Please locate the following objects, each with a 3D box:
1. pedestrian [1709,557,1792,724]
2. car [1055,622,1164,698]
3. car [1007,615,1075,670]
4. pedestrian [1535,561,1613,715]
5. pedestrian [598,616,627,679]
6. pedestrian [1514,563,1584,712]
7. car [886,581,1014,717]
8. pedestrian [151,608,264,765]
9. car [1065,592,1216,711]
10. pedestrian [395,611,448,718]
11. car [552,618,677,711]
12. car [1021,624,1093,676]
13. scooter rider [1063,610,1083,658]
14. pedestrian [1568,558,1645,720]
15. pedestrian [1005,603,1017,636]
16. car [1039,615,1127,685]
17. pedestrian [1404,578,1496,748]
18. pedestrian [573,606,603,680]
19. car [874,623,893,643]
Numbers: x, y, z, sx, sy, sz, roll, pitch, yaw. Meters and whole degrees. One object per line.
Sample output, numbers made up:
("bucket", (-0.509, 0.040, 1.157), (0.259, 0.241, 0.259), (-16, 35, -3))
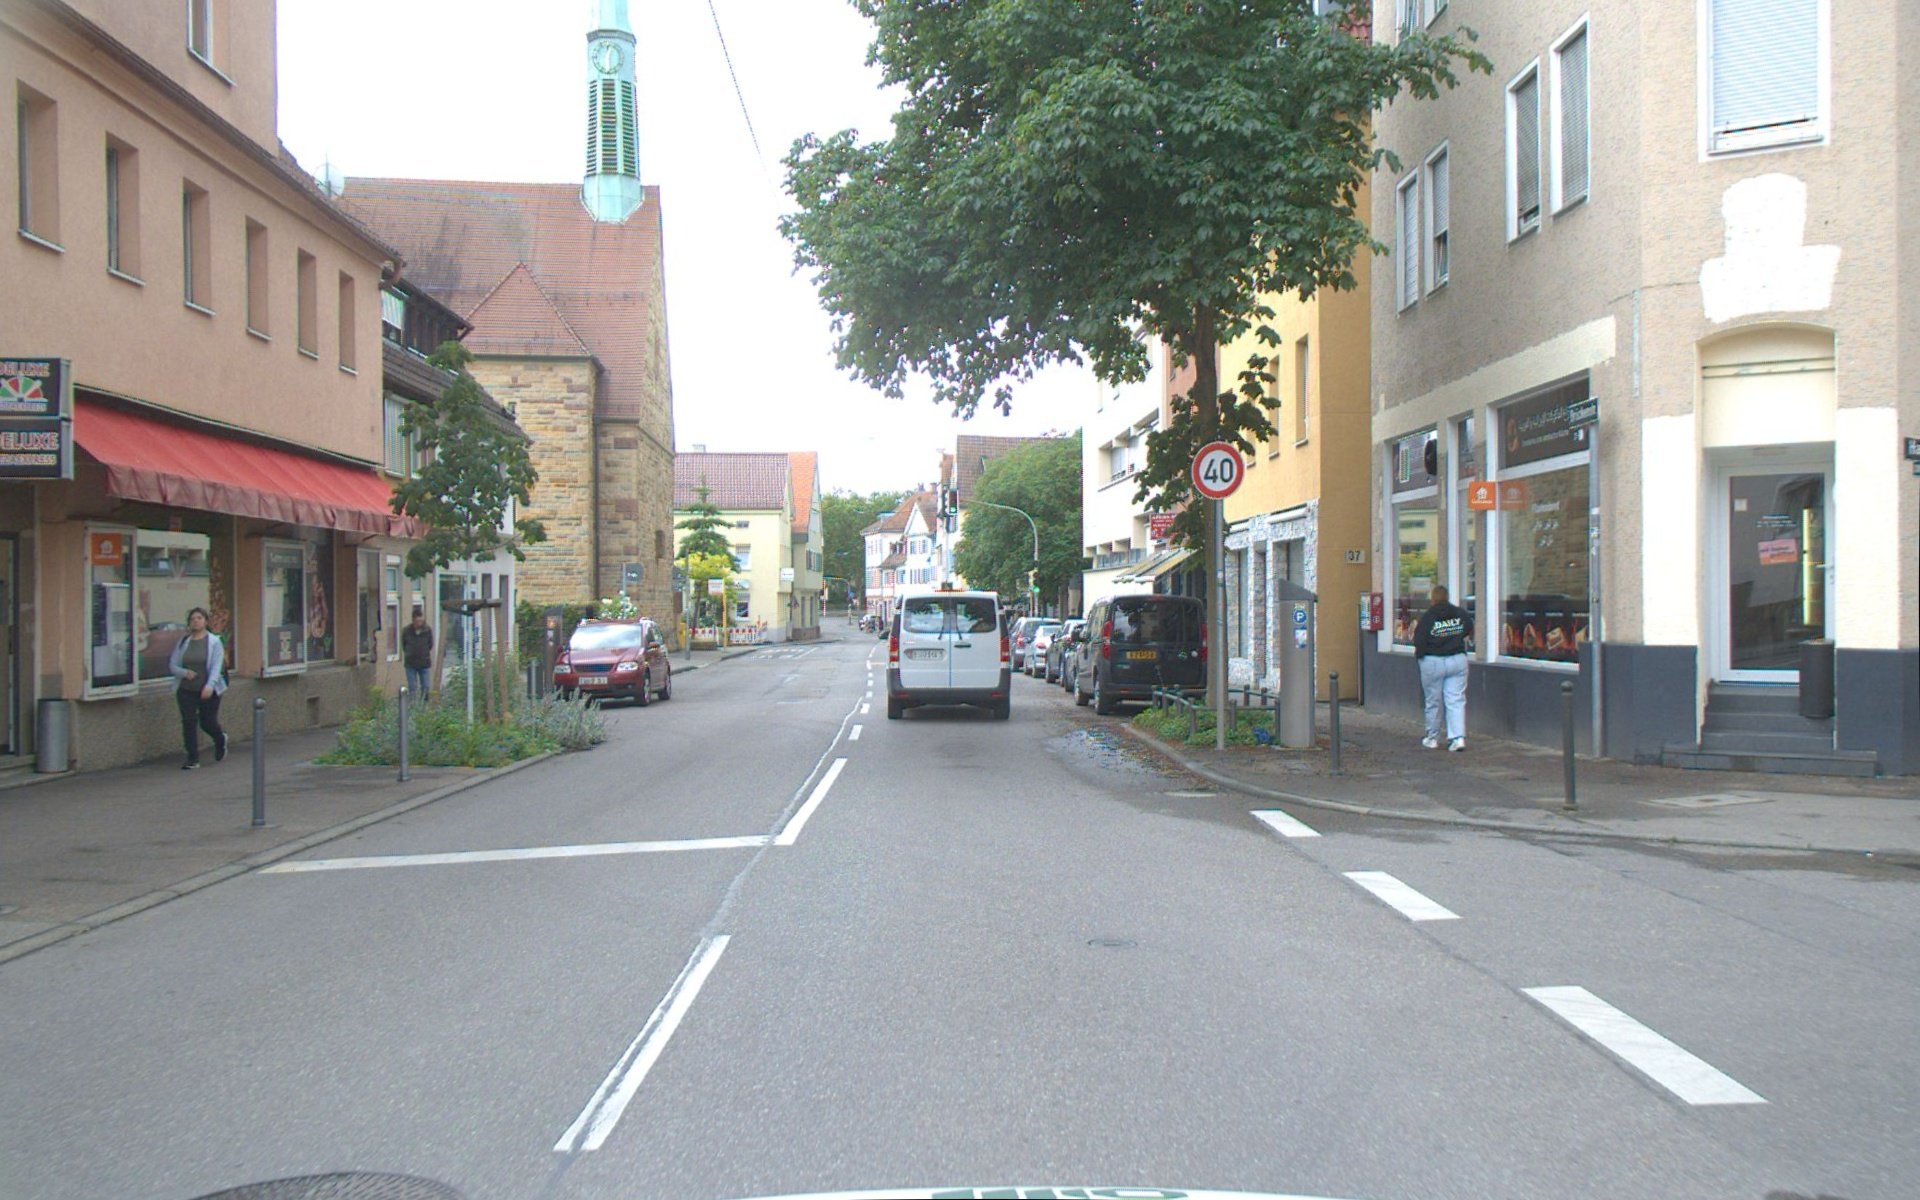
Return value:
("pedestrian", (7.680, 0.392, 16.081), (0.555, 1.588, 0.520), (1, -1, -2))
("car", (2.997, 1.176, 33.949), (1.715, 1.430, 4.509), (-1, -1, -1))
("car", (2.387, 1.250, 49.464), (1.677, 1.588, 3.783), (0, -1, -3))
("pedestrian", (6.453, 0.398, 17.401), (0.555, 1.588, 0.655), (1, -1, -2))
("pedestrian", (-8.889, 1.210, 42.290), (0.559, 1.582, 0.696), (1, -1, -2))
("pedestrian", (6.417, 0.408, 18.036), (0.555, 1.588, 0.556), (1, -1, -2))
("car", (-0.183, 0.747, 25.777), (1.835, 1.945, 3.998), (0, -1, -1))
("pedestrian", (-7.675, 0.862, 16.907), (0.724, 1.562, 0.982), (0, 0, -3))
("car", (2.905, 0.826, 27.503), (1.783, 1.812, 4.399), (0, -1, -4))
("pedestrian", (-8.531, 1.002, 26.205), (0.721, 1.657, 0.752), (0, -1, -26))
("car", (-6.691, 1.203, 32.451), (1.669, 1.601, 4.448), (-2, 0, -3))
("car", (2.588, 1.328, 44.800), (1.520, 1.356, 3.809), (0, -1, -3))
("scooter rider", (3.957, 1.185, 57.864), (0.445, 1.660, 0.502), (-2, -2, -17))
("pedestrian", (6.461, 0.392, 16.538), (0.555, 1.588, 0.520), (1, -1, -2))
("pedestrian", (2.738, 1.053, 88.018), (0.589, 1.746, 0.860), (0, -1, 5))
("car", (2.875, 1.156, 39.408), (1.570, 1.545, 4.206), (-1, -1, -3))
("pedestrian", (5.009, 0.631, 16.949), (0.602, 1.682, 0.982), (0, 0, -3))
("pedestrian", (-9.675, 1.115, 43.014), (0.559, 1.880, 0.696), (3, -1, -2))
("car", (-8.257, 3.543, 178.387), (1.896, 2.049, 3.997), (1, -1, -3))
